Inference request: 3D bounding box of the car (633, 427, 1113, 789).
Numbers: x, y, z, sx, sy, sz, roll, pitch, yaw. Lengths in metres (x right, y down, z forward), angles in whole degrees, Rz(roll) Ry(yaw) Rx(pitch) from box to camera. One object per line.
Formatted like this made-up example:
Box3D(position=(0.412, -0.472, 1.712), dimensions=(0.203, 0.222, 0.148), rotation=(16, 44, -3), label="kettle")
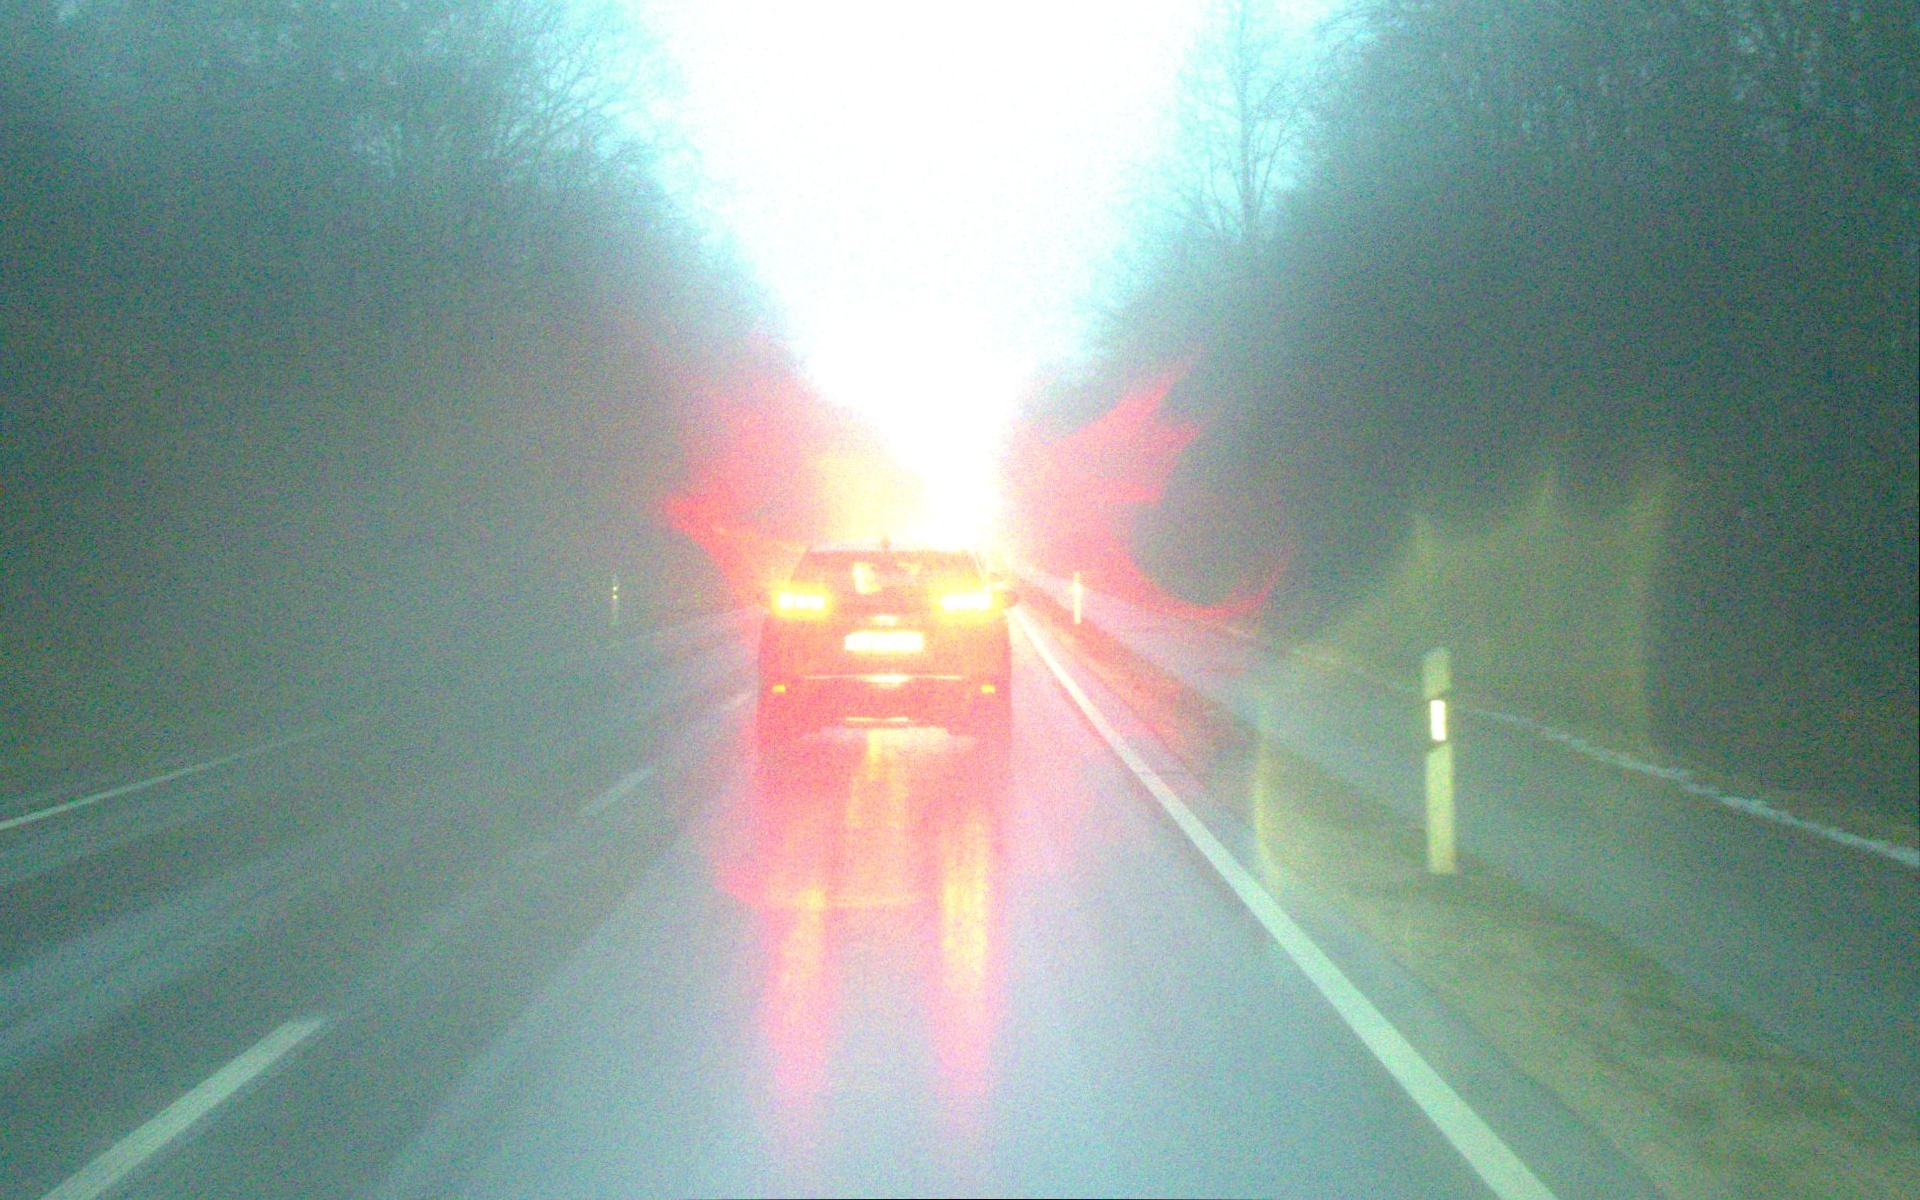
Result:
Box3D(position=(-0.595, -0.002, 26.305), dimensions=(3.183, 2.378, 6.637), rotation=(1, 1, 0), label="car")
